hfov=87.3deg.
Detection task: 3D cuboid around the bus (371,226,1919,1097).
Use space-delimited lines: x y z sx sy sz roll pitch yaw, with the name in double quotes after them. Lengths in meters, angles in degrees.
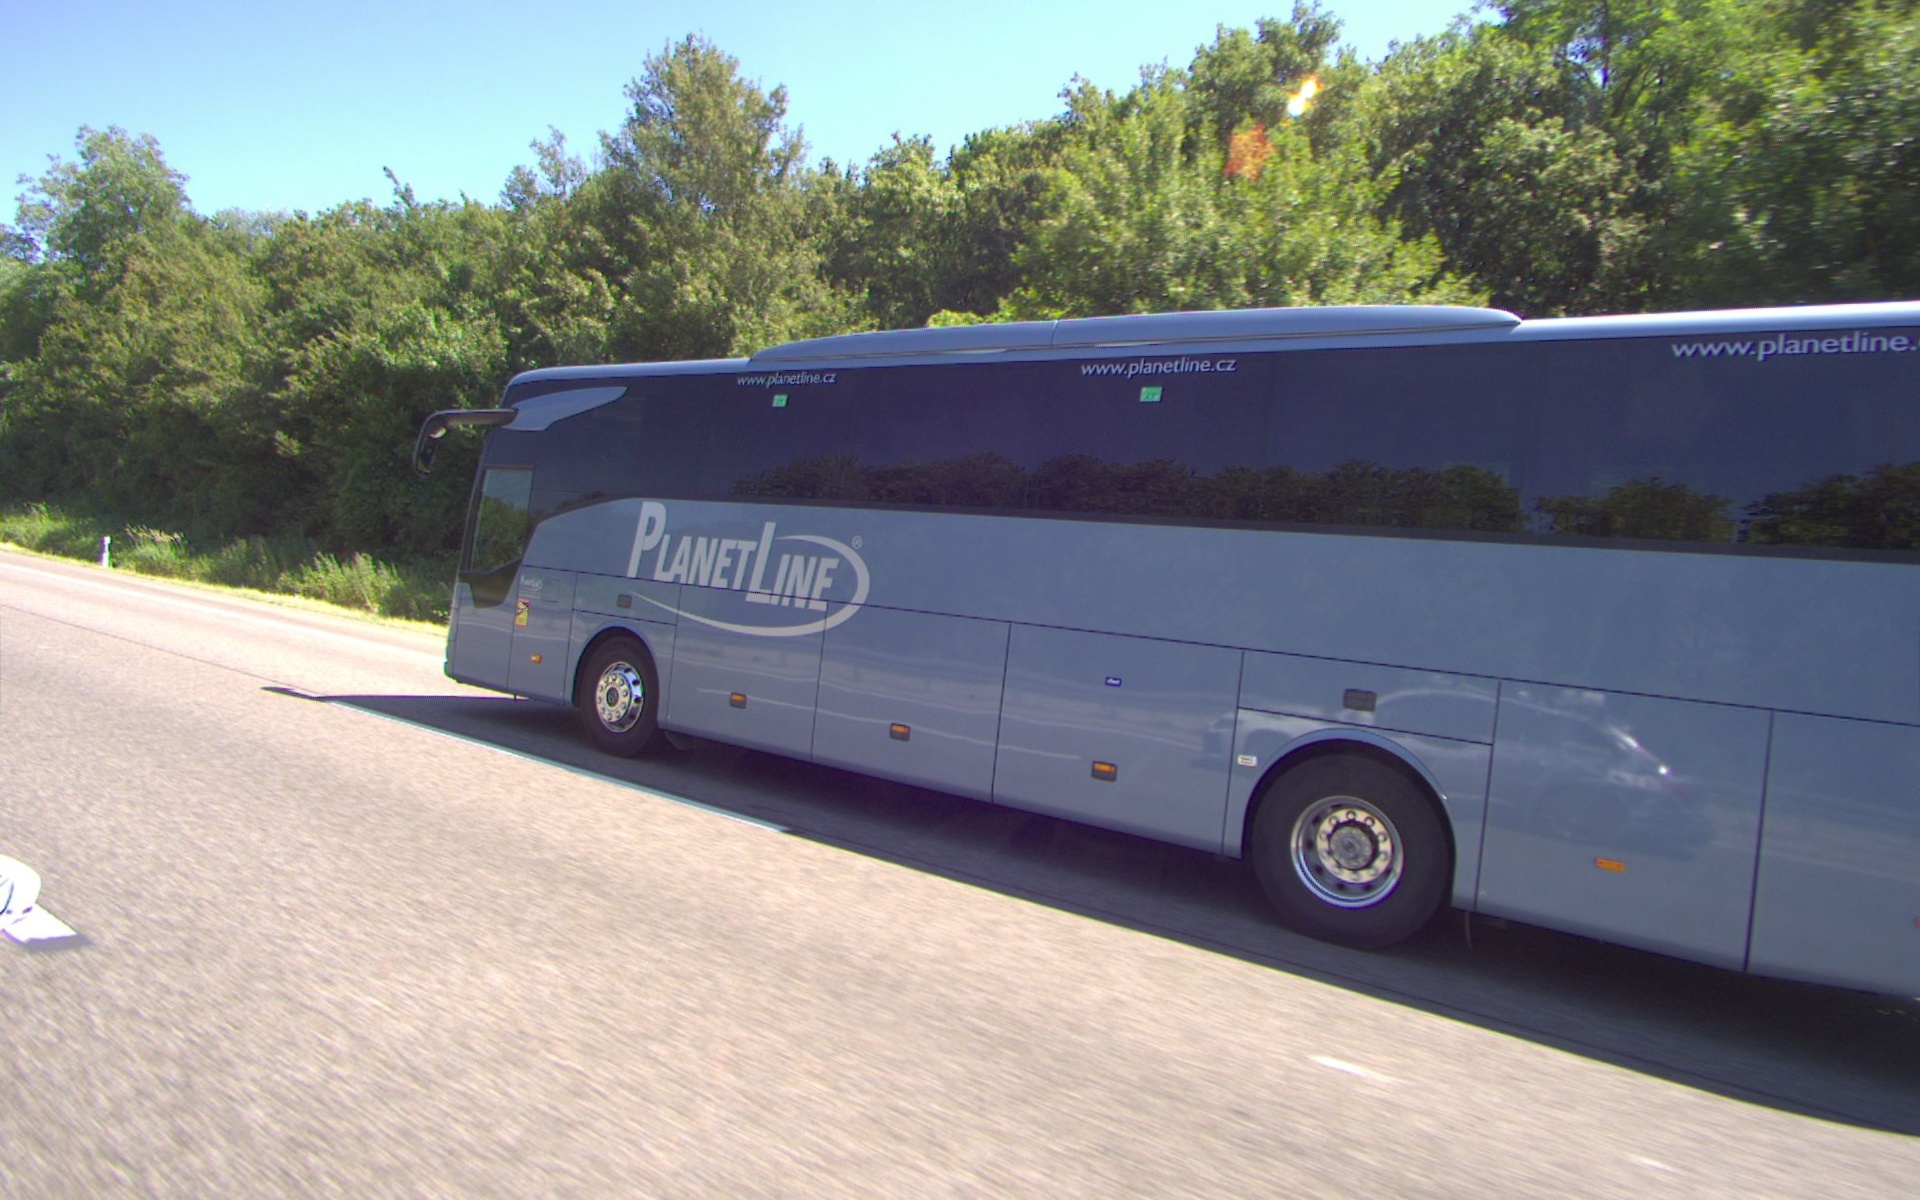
0.288 -0.121 8.088 12.265 3.639 2.807 6 -1 31 "bus"
